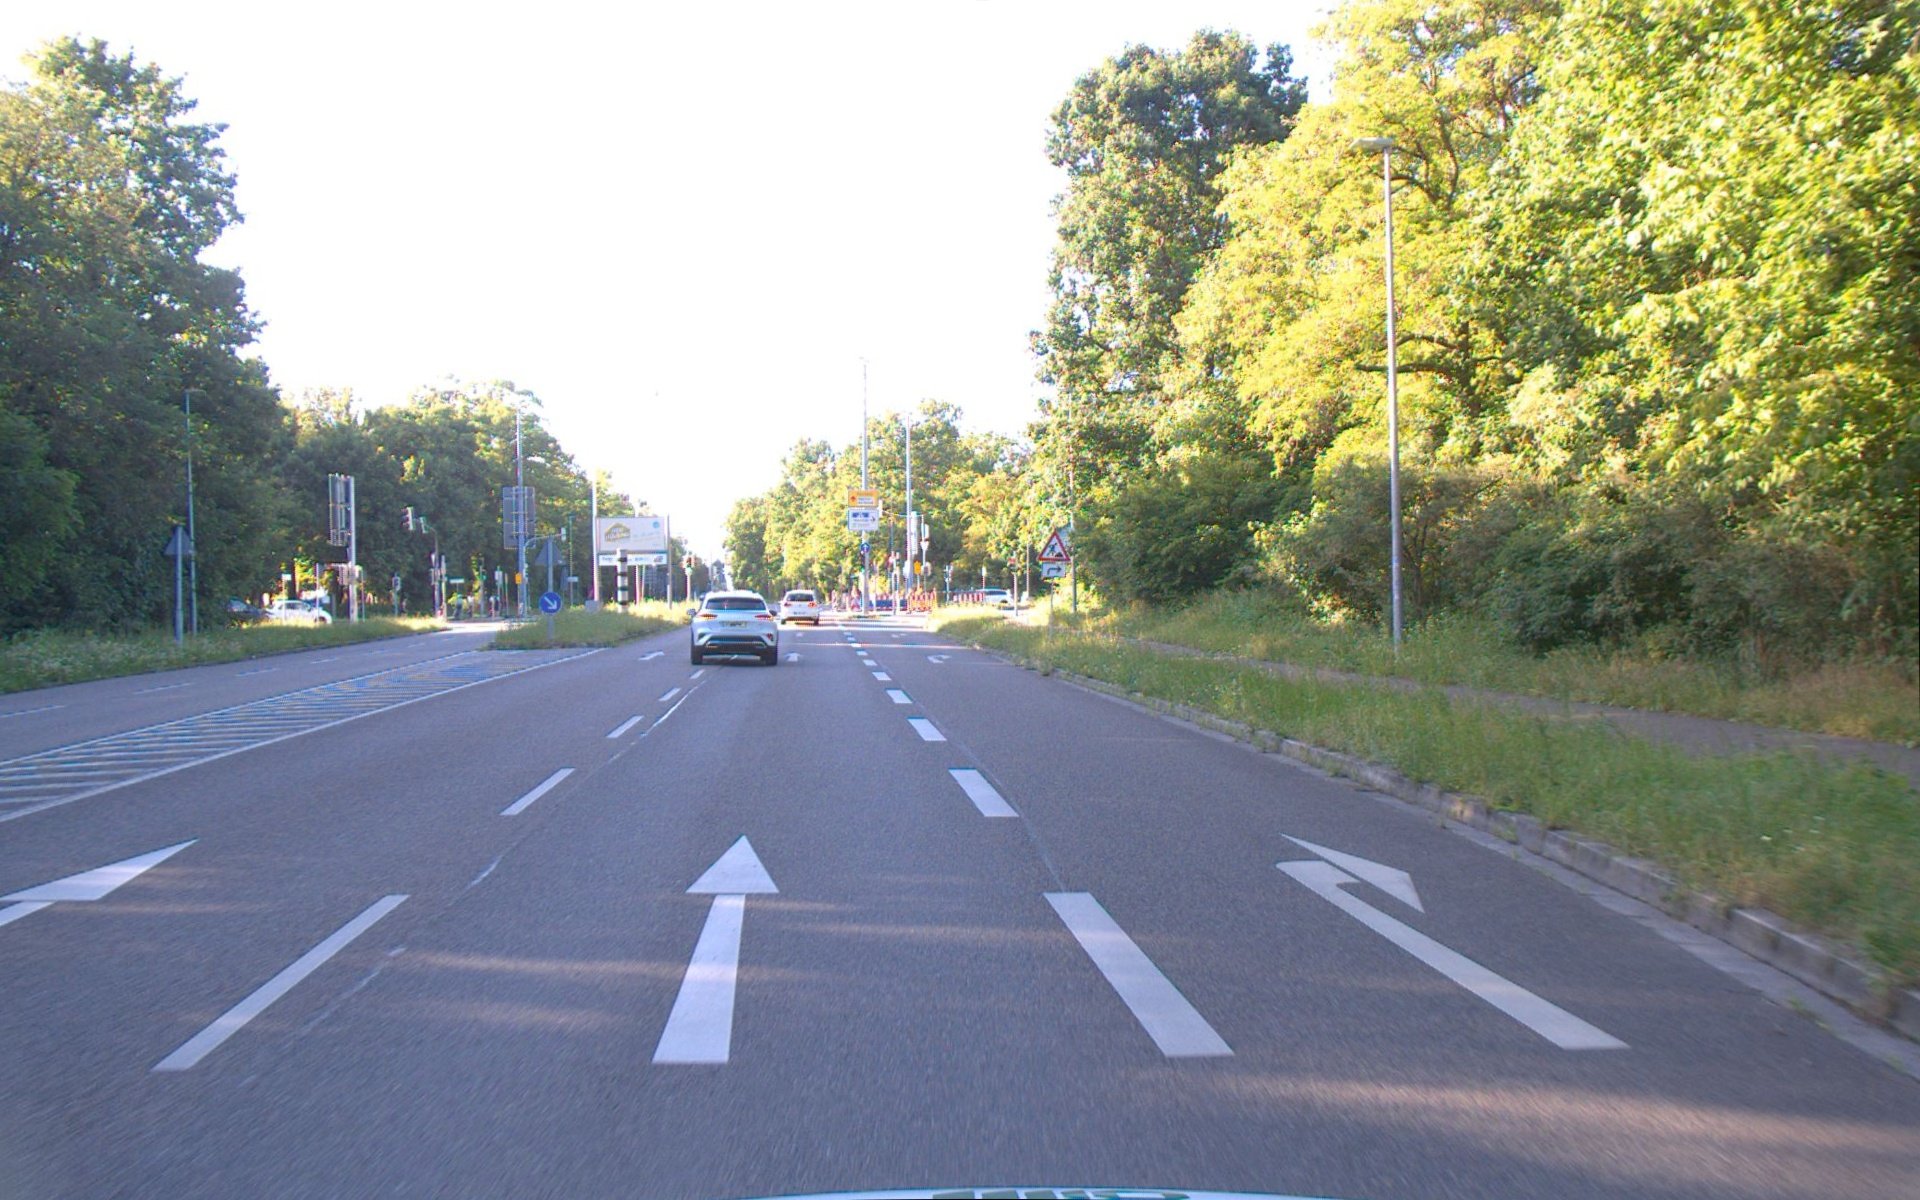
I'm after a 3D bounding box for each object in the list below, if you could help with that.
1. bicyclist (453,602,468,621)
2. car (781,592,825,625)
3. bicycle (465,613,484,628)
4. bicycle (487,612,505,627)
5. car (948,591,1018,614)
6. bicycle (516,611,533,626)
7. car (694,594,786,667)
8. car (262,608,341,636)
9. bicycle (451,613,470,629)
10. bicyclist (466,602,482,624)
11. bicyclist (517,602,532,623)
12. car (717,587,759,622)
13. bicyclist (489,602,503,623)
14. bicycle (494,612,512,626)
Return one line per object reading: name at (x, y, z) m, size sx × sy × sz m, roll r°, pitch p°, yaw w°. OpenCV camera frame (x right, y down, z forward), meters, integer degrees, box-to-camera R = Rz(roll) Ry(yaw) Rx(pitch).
bicyclist at (-32.532, 0.750, 107.688) m, size 0.700 × 1.213 × 0.990 m, roll -1°, pitch 0°, yaw -3°
car at (-7.175, 0.359, 75.817) m, size 1.902 × 1.439 × 3.996 m, roll -1°, pitch 0°, yaw -5°
bicycle at (-31.625, 1.343, 107.704) m, size 0.700 × 0.930 × 1.910 m, roll -1°, pitch 0°, yaw -2°
bicycle at (-30.482, 1.277, 108.665) m, size 0.700 × 0.930 × 1.910 m, roll -1°, pitch 0°, yaw -2°
car at (1.693, 0.170, 121.921) m, size 4.762 × 1.608 × 1.982 m, roll -1°, pitch 0°, yaw -28°
bicycle at (-28.641, 1.234, 108.783) m, size 0.700 × 0.930 × 1.910 m, roll -1°, pitch 0°, yaw -2°
car at (-4.697, 0.620, 35.691) m, size 1.827 × 1.469 × 3.995 m, roll 0°, pitch 0°, yaw -6°
car at (-36.177, 1.219, 90.882) m, size 3.750 × 1.413 × 1.908 m, roll -1°, pitch 0°, yaw -32°
bicycle at (-32.519, 1.353, 107.687) m, size 0.700 × 0.930 × 1.910 m, roll -1°, pitch 1°, yaw -2°
bicyclist at (-31.636, 0.853, 107.670) m, size 0.696 × 1.414 × 0.990 m, roll -1°, pitch 0°, yaw -3°
bicyclist at (-28.648, 0.833, 108.843) m, size 0.700 × 1.362 × 0.990 m, roll -1°, pitch 0°, yaw -3°
car at (-11.416, 0.228, 84.993) m, size 1.957 × 1.714 × 3.991 m, roll -1°, pitch 0°, yaw -10°
bicyclist at (-30.488, 0.835, 108.662) m, size 0.700 × 1.379 × 0.990 m, roll -1°, pitch 0°, yaw -3°
bicycle at (-30.612, 1.266, 110.752) m, size 0.700 × 0.930 × 1.910 m, roll -1°, pitch 0°, yaw -2°
